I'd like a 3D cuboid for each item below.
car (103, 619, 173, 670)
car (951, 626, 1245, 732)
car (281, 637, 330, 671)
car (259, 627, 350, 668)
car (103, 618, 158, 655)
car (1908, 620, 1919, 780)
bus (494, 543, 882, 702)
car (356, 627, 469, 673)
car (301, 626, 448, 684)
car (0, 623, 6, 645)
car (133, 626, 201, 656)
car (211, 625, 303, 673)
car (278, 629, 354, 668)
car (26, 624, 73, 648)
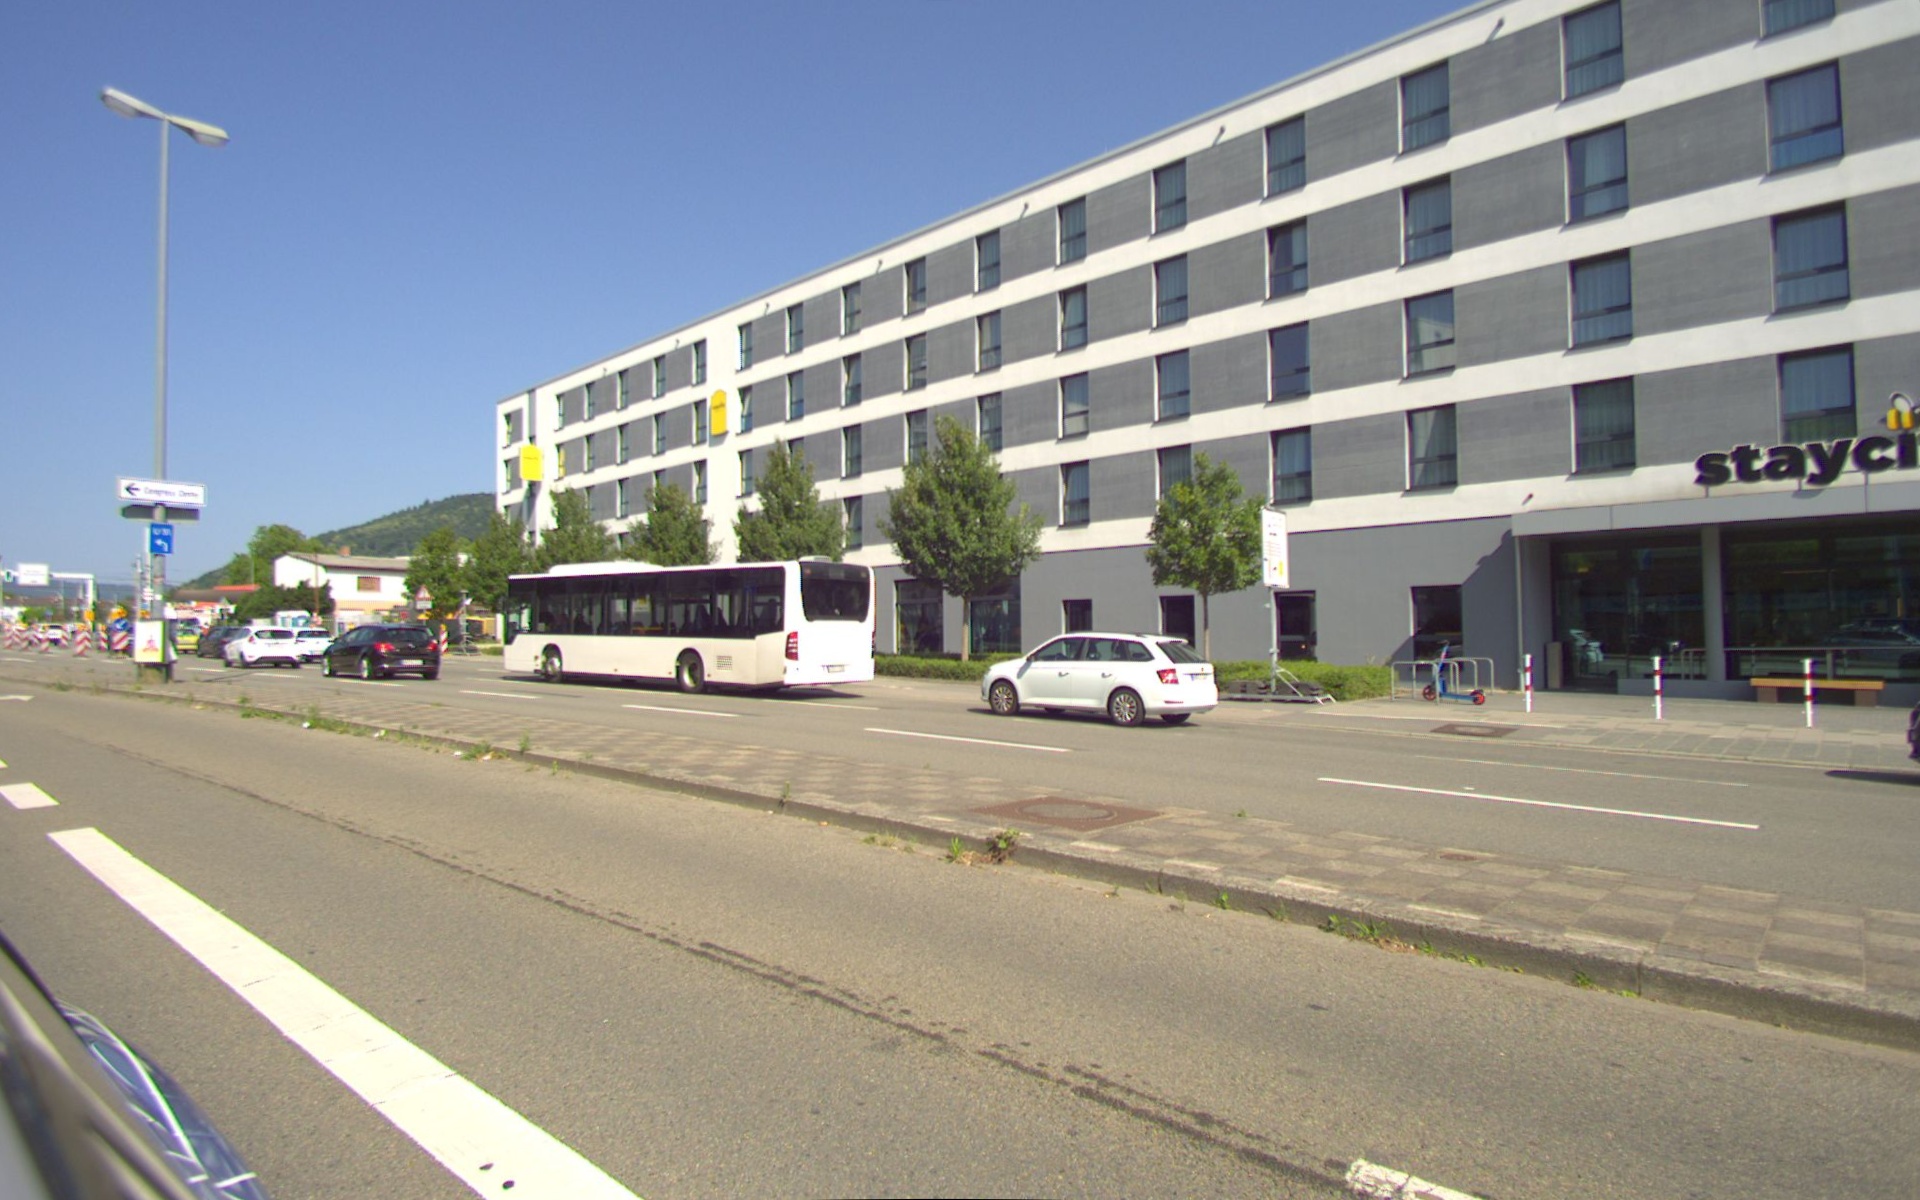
[{"bbox_3d":[-35.502,1.889,43.697,4.162,2.029,1.658,0,0,41],"label":"car"},{"bbox_3d":[2.222,1.241,16.738,4.403,1.497,1.976,0,-4,36],"label":"car"},{"bbox_3d":[-25.309,2.067,39.117,2.219,1.216,1.044,0,0,42],"label":"car"},{"bbox_3d":[-26.294,1.891,40.573,3.973,1.550,1.835,-1,-4,39],"label":"car"},{"bbox_3d":[-48.314,2.075,58.909,4.000,2.029,1.972,0,0,43],"label":"car"},{"bbox_3d":[11.573,1.006,9.041,4.411,1.590,1.972,-1,-4,42],"label":"car"},{"bbox_3d":[-7.158,0.596,24.686,11.965,3.102,2.710,-1,-4,40],"label":"bus"},{"bbox_3d":[-19.564,1.719,36.071,4.888,1.534,1.973,-1,-2,41],"label":"car"},{"bbox_3d":[-16.113,1.448,27.745,4.887,1.443,1.973,-1,-2,40],"label":"car"},{"bbox_3d":[-92.669,3.214,96.520,3.996,2.029,1.973,-1,-3,40],"label":"car"},{"bbox_3d":[-42.368,2.136,54.022,4.888,1.534,1.973,-1,-2,41],"label":"car"},{"bbox_3d":[-24.202,1.632,34.793,3.999,1.462,1.740,0,0,42],"label":"car"},{"bbox_3d":[-28.593,2.107,44.924,3.586,1.631,1.698,-1,-1,37],"label":"car"},{"bbox_3d":[-67.991,2.697,75.548,4.888,1.725,1.973,-2,-2,41],"label":"car"}]
